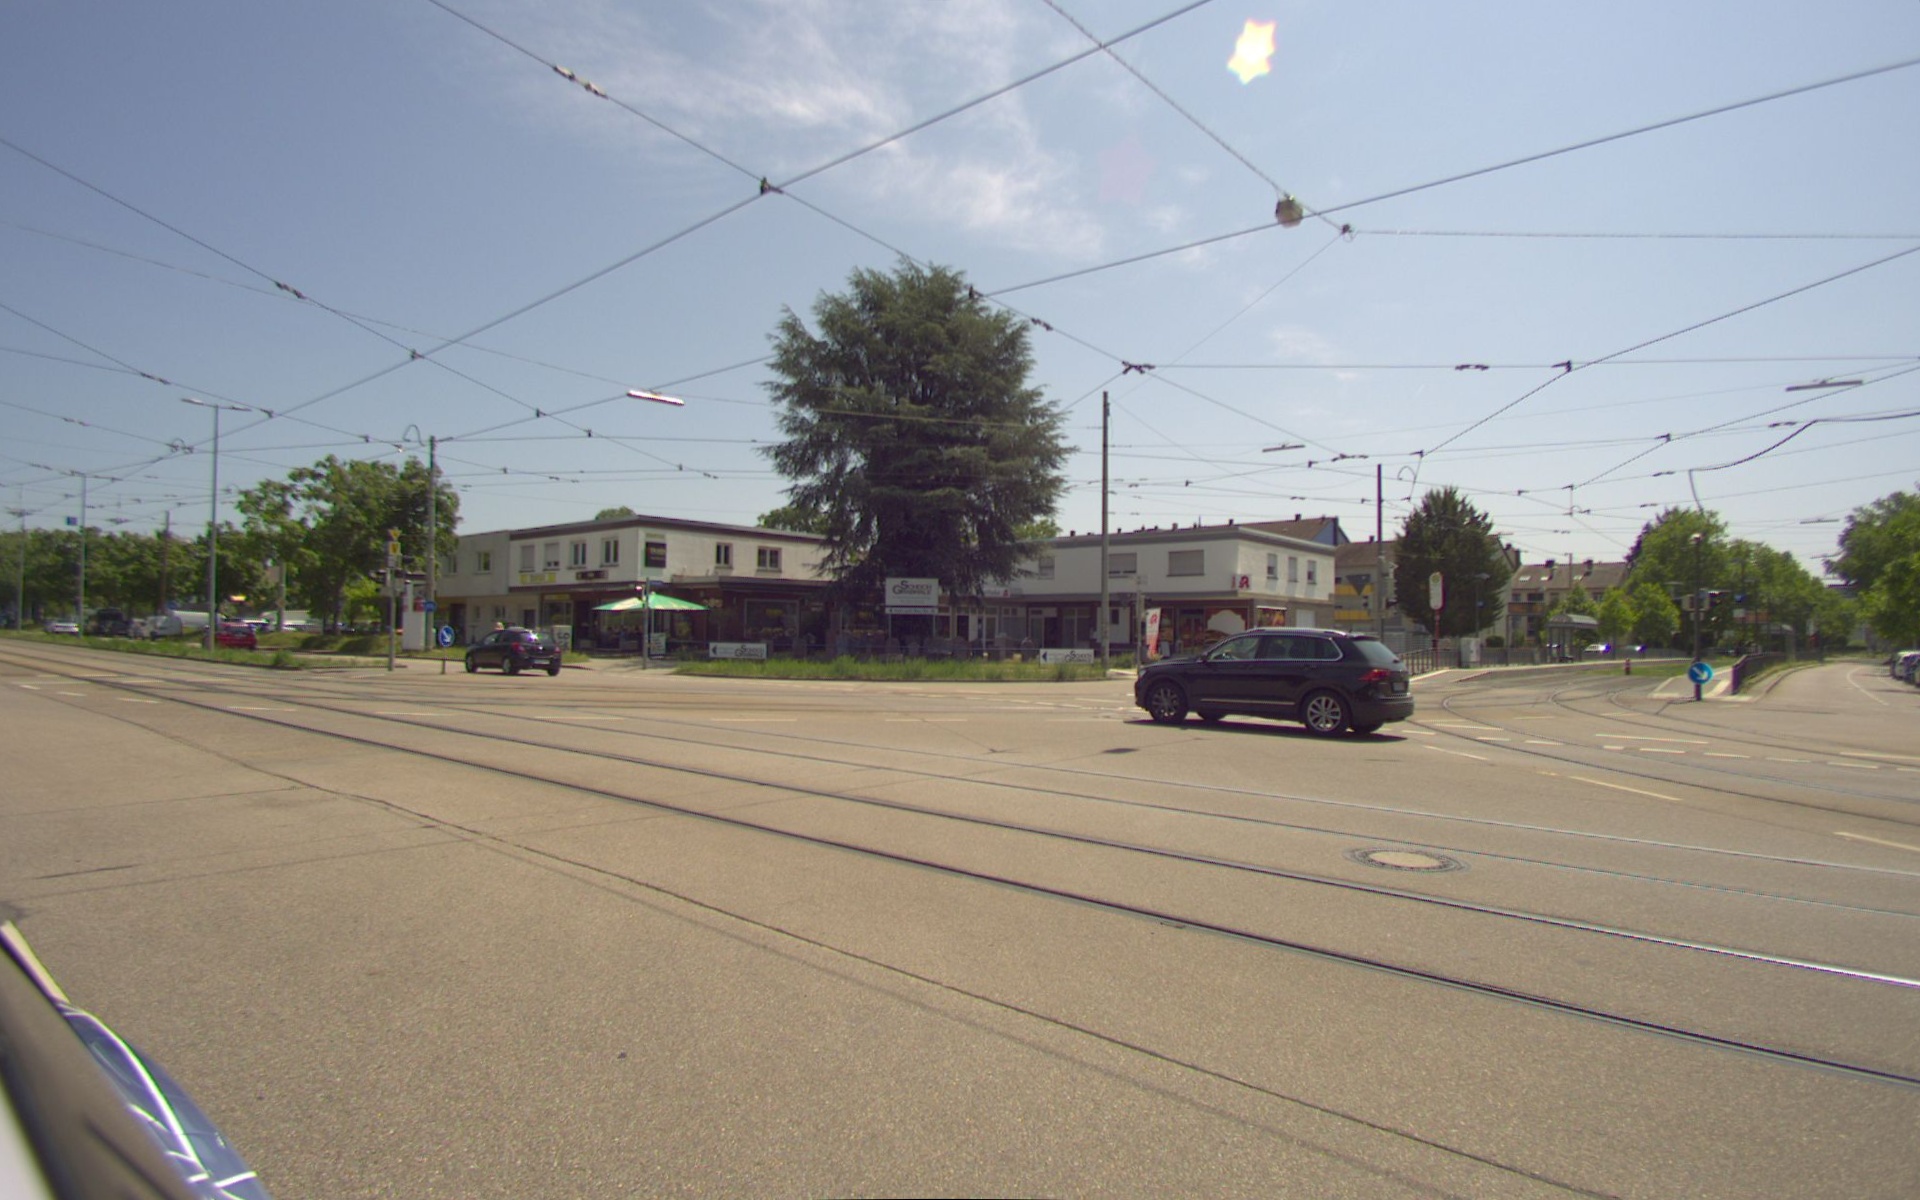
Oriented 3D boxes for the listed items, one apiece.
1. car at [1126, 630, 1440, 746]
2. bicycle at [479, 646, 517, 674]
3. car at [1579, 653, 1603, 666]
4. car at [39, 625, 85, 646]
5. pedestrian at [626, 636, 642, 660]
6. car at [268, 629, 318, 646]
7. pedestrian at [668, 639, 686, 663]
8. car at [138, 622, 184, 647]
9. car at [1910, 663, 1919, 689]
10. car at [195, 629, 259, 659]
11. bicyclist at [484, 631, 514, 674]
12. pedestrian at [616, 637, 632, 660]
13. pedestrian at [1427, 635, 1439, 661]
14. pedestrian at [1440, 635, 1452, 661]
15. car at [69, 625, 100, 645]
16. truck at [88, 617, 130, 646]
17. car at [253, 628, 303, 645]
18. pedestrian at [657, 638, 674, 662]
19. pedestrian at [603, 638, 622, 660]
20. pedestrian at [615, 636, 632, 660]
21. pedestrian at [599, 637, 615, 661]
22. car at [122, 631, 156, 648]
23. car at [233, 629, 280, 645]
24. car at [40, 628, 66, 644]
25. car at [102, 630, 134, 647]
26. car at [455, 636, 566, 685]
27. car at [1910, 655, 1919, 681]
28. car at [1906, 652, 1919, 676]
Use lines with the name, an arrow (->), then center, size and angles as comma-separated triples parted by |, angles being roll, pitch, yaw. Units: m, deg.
car -> 5.063, 1.309, 16.272 | 4.494, 1.591, 1.774 | -1, -3, 43
bicycle -> -19.277, 2.483, 42.191 | 1.930, 1.157, 0.687 | -2, -4, 40
car -> 65.704, 6.208, 105.363 | 1.597, 1.236, 3.254 | -1, -3, 40
car -> -72.930, 2.866, 82.174 | 4.132, 1.564, 1.975 | -1, -5, 37
pedestrian -> -16.927, 2.496, 52.583 | 0.674, 1.218, 0.512 | -1, -3, 41
car -> -59.242, 3.322, 89.954 | 1.600, 1.404, 3.374 | -1, -3, 35
pedestrian -> -13.504, 2.435, 48.307 | 0.674, 1.136, 0.512 | -1, -3, 41
car -> -62.567, 2.706, 79.240 | 4.659, 1.898, 1.973 | -1, -3, 41
car -> 49.805, 3.890, 51.795 | 1.590, 1.249, 3.531 | -1, -3, 41
car -> -38.323, 2.268, 52.874 | 3.822, 1.495, 1.609 | -1, -3, 37
bicyclist -> -19.214, 2.184, 42.156 | 1.136, 1.779, 0.687 | -2, -4, 40
pedestrian -> -17.777, 2.569, 53.562 | 0.674, 1.172, 0.512 | -1, -3, 41
pedestrian -> 35.379, 3.566, 75.666 | 0.679, 1.917, 0.640 | -1, -3, 40
pedestrian -> 36.077, 3.565, 75.124 | 0.679, 1.917, 0.640 | -1, -3, 40
car -> -89.450, 3.562, 103.423 | 4.506, 1.989, 1.660 | -1, -3, 40
truck -> -79.324, 2.953, 94.267 | 4.927, 2.561, 2.196 | -1, -3, 41
car -> -61.313, 3.296, 91.002 | 1.600, 1.404, 3.374 | -1, -3, 35
pedestrian -> -14.330, 2.446, 49.270 | 0.674, 1.136, 0.512 | -1, -3, 41
pedestrian -> -18.169, 2.577, 52.908 | 0.810, 1.136, 0.558 | -1, -3, 41
pedestrian -> -17.367, 2.479, 52.190 | 0.674, 1.208, 0.512 | -1, -3, 41
pedestrian -> -18.182, 2.513, 52.079 | 0.491, 1.248, 0.569 | -1, -3, 40
car -> -67.613, 3.250, 83.304 | 3.568, 1.397, 1.652 | -1, -3, 43
car -> -69.011, 3.663, 99.275 | 1.600, 1.517, 3.374 | -1, -3, 35
car -> -102.457, 4.061, 114.303 | 3.821, 1.716, 1.660 | -1, -3, 40
car -> -74.845, 3.420, 89.924 | 3.669, 1.397, 1.652 | -1, -3, 43
car -> -14.534, 1.908, 32.677 | 3.861, 1.449, 1.692 | -1, -3, 39
car -> 46.765, 3.273, 48.574 | 1.590, 1.249, 3.531 | -1, -3, 41
car -> 53.216, 3.535, 55.673 | 1.590, 1.249, 3.531 | -1, -3, 41
